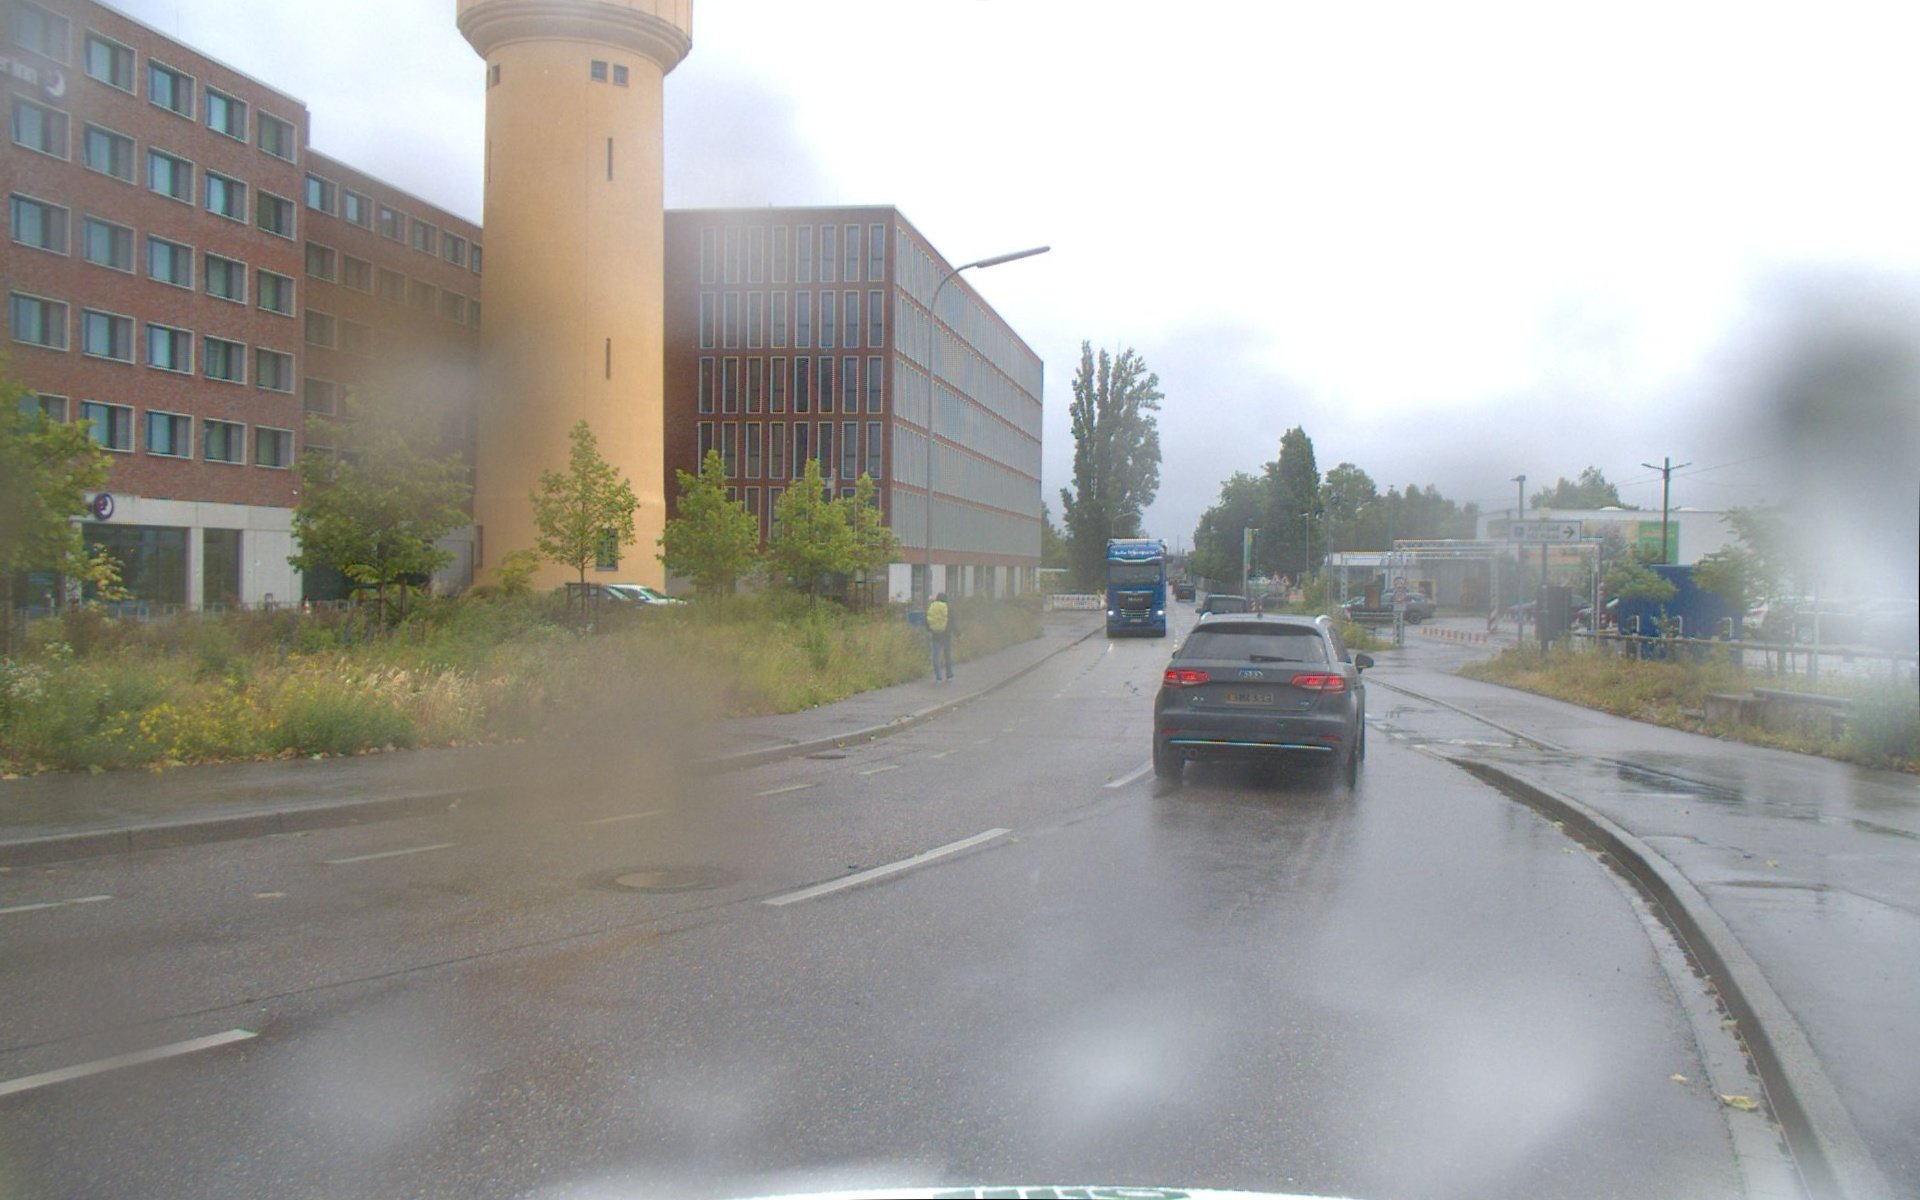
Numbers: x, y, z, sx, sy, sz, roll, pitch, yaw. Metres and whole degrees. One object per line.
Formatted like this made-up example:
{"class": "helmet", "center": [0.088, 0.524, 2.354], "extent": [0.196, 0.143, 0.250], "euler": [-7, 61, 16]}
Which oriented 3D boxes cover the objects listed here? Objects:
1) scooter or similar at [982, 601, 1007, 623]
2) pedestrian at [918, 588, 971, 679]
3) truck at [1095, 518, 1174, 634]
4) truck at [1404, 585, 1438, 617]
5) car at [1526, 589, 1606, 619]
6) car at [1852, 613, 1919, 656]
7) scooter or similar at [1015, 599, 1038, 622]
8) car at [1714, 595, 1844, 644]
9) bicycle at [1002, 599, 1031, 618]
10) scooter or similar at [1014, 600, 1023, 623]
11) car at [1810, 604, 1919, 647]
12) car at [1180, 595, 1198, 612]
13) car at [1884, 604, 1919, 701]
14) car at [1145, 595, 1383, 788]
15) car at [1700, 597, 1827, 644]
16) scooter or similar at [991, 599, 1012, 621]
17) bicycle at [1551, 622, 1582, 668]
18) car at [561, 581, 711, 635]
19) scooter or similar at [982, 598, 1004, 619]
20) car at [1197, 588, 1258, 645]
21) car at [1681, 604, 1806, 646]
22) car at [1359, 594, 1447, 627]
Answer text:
{"class": "scooter or similar", "center": [1.928, 0.639, 91.697], "extent": [1.288, 1.198, 0.468], "euler": [0, 0, 13]}
{"class": "pedestrian", "center": [-0.299, 0.645, 32.455], "extent": [0.889, 1.748, 1.027], "euler": [1, 0, 7]}
{"class": "truck", "center": [7.511, -0.997, 71.333], "extent": [3.224, 4.735, 6.037], "euler": [1, 0, 6]}
{"class": "truck", "center": [40.918, 0.051, 147.085], "extent": [2.252, 2.706, 7.423], "euler": [0, 1, 10]}
{"class": "car", "center": [34.351, 0.232, 93.770], "extent": [3.902, 1.511, 2.001], "euler": [2, -1, 8]}
{"class": "car", "center": [29.348, 1.015, 49.221], "extent": [4.490, 1.242, 1.980], "euler": [0, -1, 6]}
{"class": "scooter or similar", "center": [3.749, 0.584, 93.454], "extent": [1.295, 1.251, 0.465], "euler": [1, 0, 37]}
{"class": "car", "center": [28.783, 0.704, 58.214], "extent": [3.694, 1.612, 1.788], "euler": [-1, -1, 10]}
{"class": "bicycle", "center": [3.605, 0.546, 105.460], "extent": [1.820, 1.096, 0.545], "euler": [3, 0, 6]}
{"class": "scooter or similar", "center": [3.226, 0.636, 90.847], "extent": [0.456, 1.251, 1.321], "euler": [0, 0, 4]}
{"class": "car", "center": [36.507, 1.008, 66.196], "extent": [3.973, 1.633, 1.928], "euler": [-1, -1, 8]}
{"class": "car", "center": [23.603, 0.352, 170.586], "extent": [1.693, 1.716, 3.900], "euler": [1, 0, 10]}
{"class": "car", "center": [15.767, 0.822, 23.952], "extent": [3.691, 1.418, 1.907], "euler": [2, -1, 5]}
{"class": "car", "center": [2.968, 0.741, 15.494], "extent": [1.854, 1.482, 4.230], "euler": [2, 0, 14]}
{"class": "car", "center": [29.613, 0.773, 61.031], "extent": [3.819, 1.612, 1.788], "euler": [-1, -1, 10]}
{"class": "scooter or similar", "center": [2.392, 0.565, 94.244], "extent": [1.197, 1.251, 0.460], "euler": [0, 0, -41]}
{"class": "bicycle", "center": [15.011, 1.099, 40.896], "extent": [0.497, 1.103, 1.700], "euler": [0, 0, 28]}
{"class": "car", "center": [-10.623, 0.250, 54.457], "extent": [4.426, 1.670, 2.001], "euler": [1, 0, 5]}
{"class": "scooter or similar", "center": [1.921, 0.502, 97.115], "extent": [1.200, 1.229, 0.418], "euler": [0, 0, 15]}
{"class": "car", "center": [9.625, 0.575, 59.799], "extent": [1.951, 1.944, 4.204], "euler": [1, 0, 6]}
{"class": "car", "center": [30.098, 0.956, 63.628], "extent": [3.958, 1.510, 1.929], "euler": [-1, -1, 10]}
{"class": "car", "center": [24.395, 0.582, 91.167], "extent": [4.581, 1.765, 2.129], "euler": [0, -1, 12]}
